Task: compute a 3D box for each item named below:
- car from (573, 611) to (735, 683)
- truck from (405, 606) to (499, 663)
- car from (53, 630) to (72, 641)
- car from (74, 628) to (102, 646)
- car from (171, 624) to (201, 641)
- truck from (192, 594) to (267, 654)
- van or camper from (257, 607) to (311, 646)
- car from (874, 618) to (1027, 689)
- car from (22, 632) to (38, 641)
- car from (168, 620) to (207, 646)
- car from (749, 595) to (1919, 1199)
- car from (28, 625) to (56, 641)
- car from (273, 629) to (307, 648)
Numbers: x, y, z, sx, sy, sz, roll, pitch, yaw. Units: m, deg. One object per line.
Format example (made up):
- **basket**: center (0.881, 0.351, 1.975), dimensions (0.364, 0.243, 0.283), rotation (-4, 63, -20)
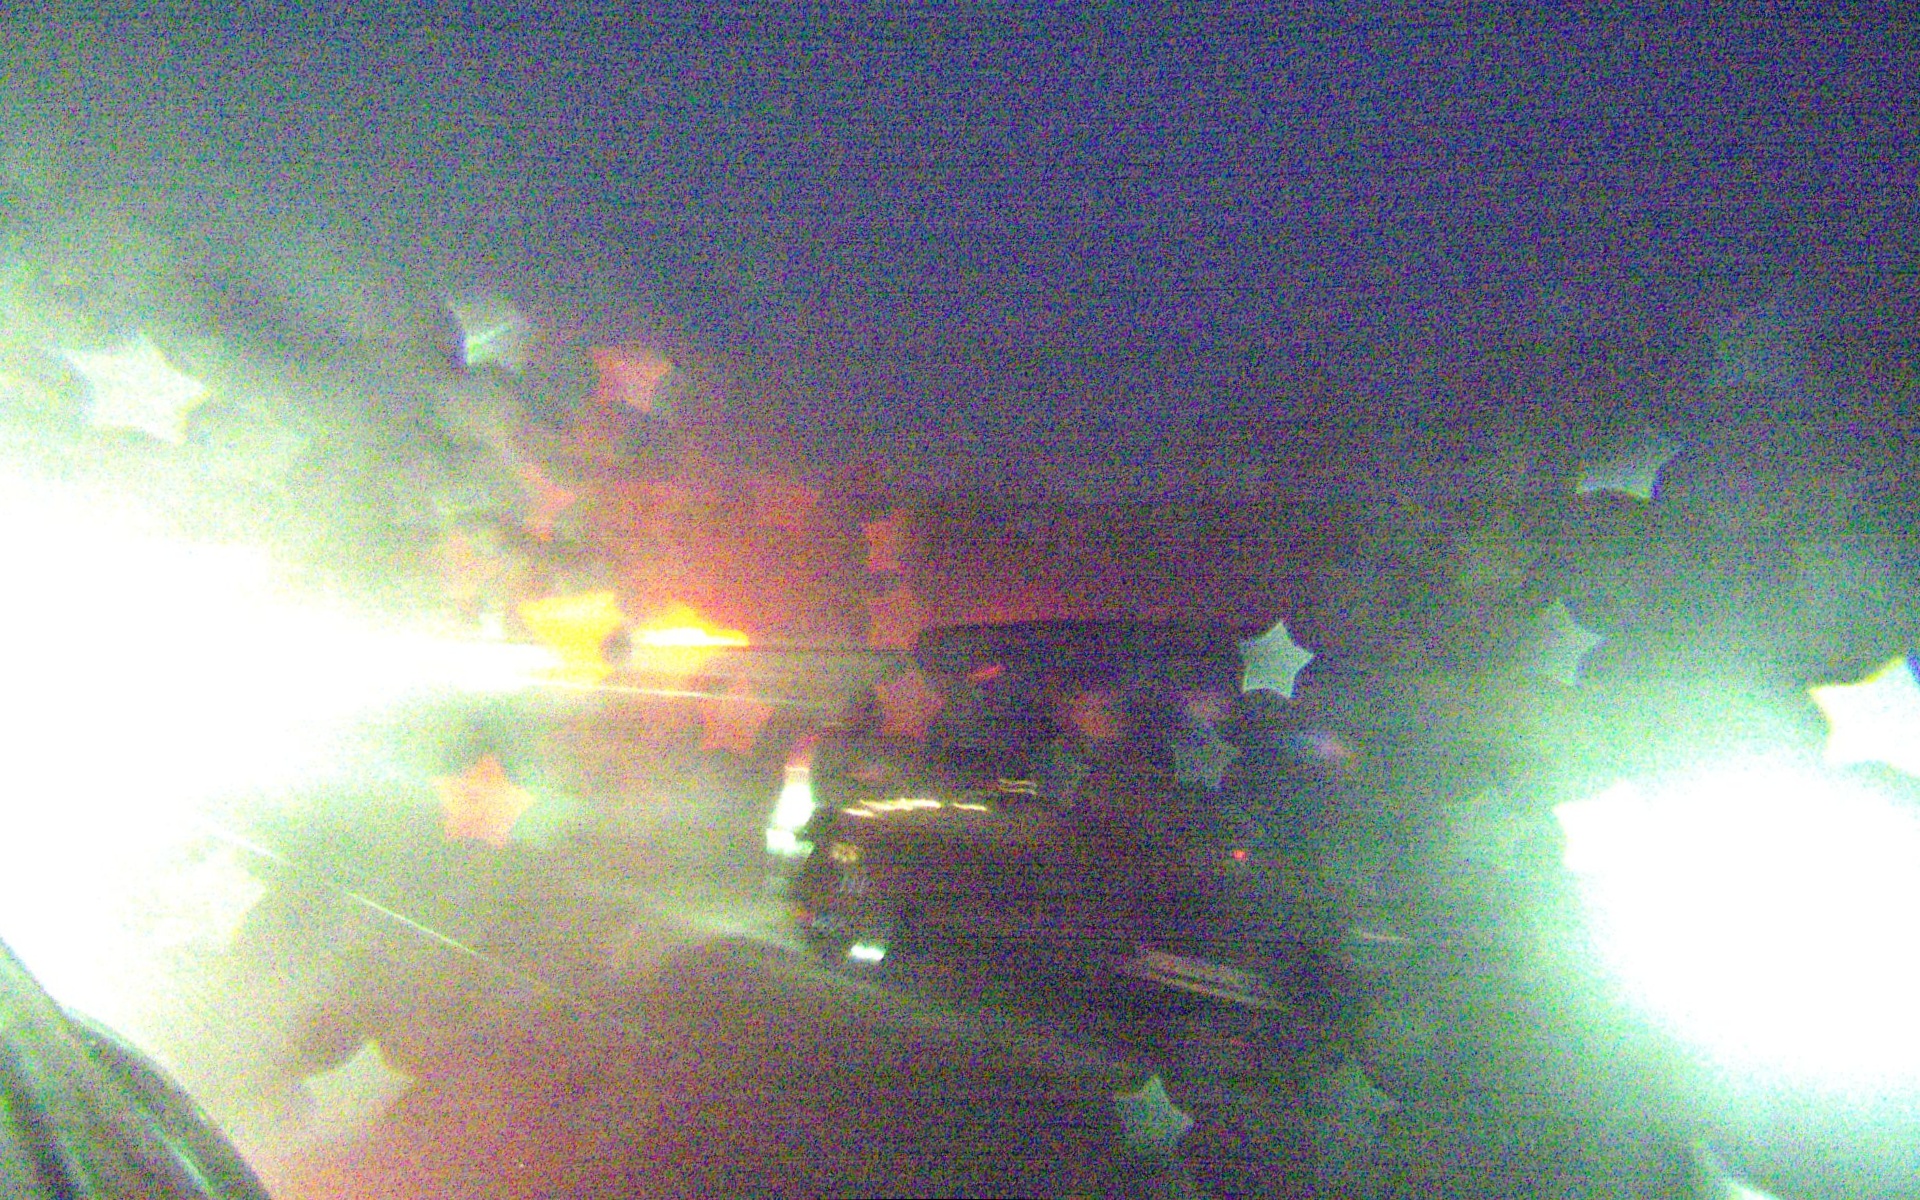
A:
- **car**: center (-8.795, 1.260, 28.851), dimensions (5.163, 1.820, 1.973), rotation (-1, 0, 41)
- **truck**: center (-28.962, 1.890, 57.551), dimensions (6.699, 3.022, 2.425), rotation (-1, 0, 41)
- **car**: center (-141.443, 5.584, 159.450), dimensions (3.998, 1.702, 1.743), rotation (-1, 0, 41)
- **car**: center (-95.738, 4.044, 111.066), dimensions (4.754, 1.812, 1.647), rotation (-1, 0, 41)
- **car**: center (-81.482, 3.392, 106.545), dimensions (4.203, 1.640, 1.659), rotation (-1, 0, 41)
- **truck**: center (-84.002, 2.648, 116.116), dimensions (17.295, 6.460, 3.189), rotation (-1, 0, 41)
- **van or camper**: center (-66.365, 2.556, 99.258), dimensions (7.676, 3.729, 2.488), rotation (-1, 0, 41)
- **car**: center (-0.300, 1.351, 26.818), dimensions (3.885, 1.685, 1.744), rotation (-1, 0, 41)
- **car**: center (-168.790, 6.667, 183.702), dimensions (3.998, 1.584, 1.781), rotation (-1, 0, 41)
- **car**: center (-62.910, 2.683, 82.370), dimensions (3.998, 2.029, 1.772), rotation (-1, 0, 41)
- **car**: center (1.231, 0.739, 3.511), dimensions (4.244, 1.441, 1.639), rotation (-2, -1, 42)
- **car**: center (-119.096, 4.302, 131.309), dimensions (5.266, 1.904, 2.052), rotation (-1, 0, 41)
- **car**: center (-56.347, 3.218, 85.120), dimensions (3.460, 1.512, 1.527), rotation (-1, 0, 41)
